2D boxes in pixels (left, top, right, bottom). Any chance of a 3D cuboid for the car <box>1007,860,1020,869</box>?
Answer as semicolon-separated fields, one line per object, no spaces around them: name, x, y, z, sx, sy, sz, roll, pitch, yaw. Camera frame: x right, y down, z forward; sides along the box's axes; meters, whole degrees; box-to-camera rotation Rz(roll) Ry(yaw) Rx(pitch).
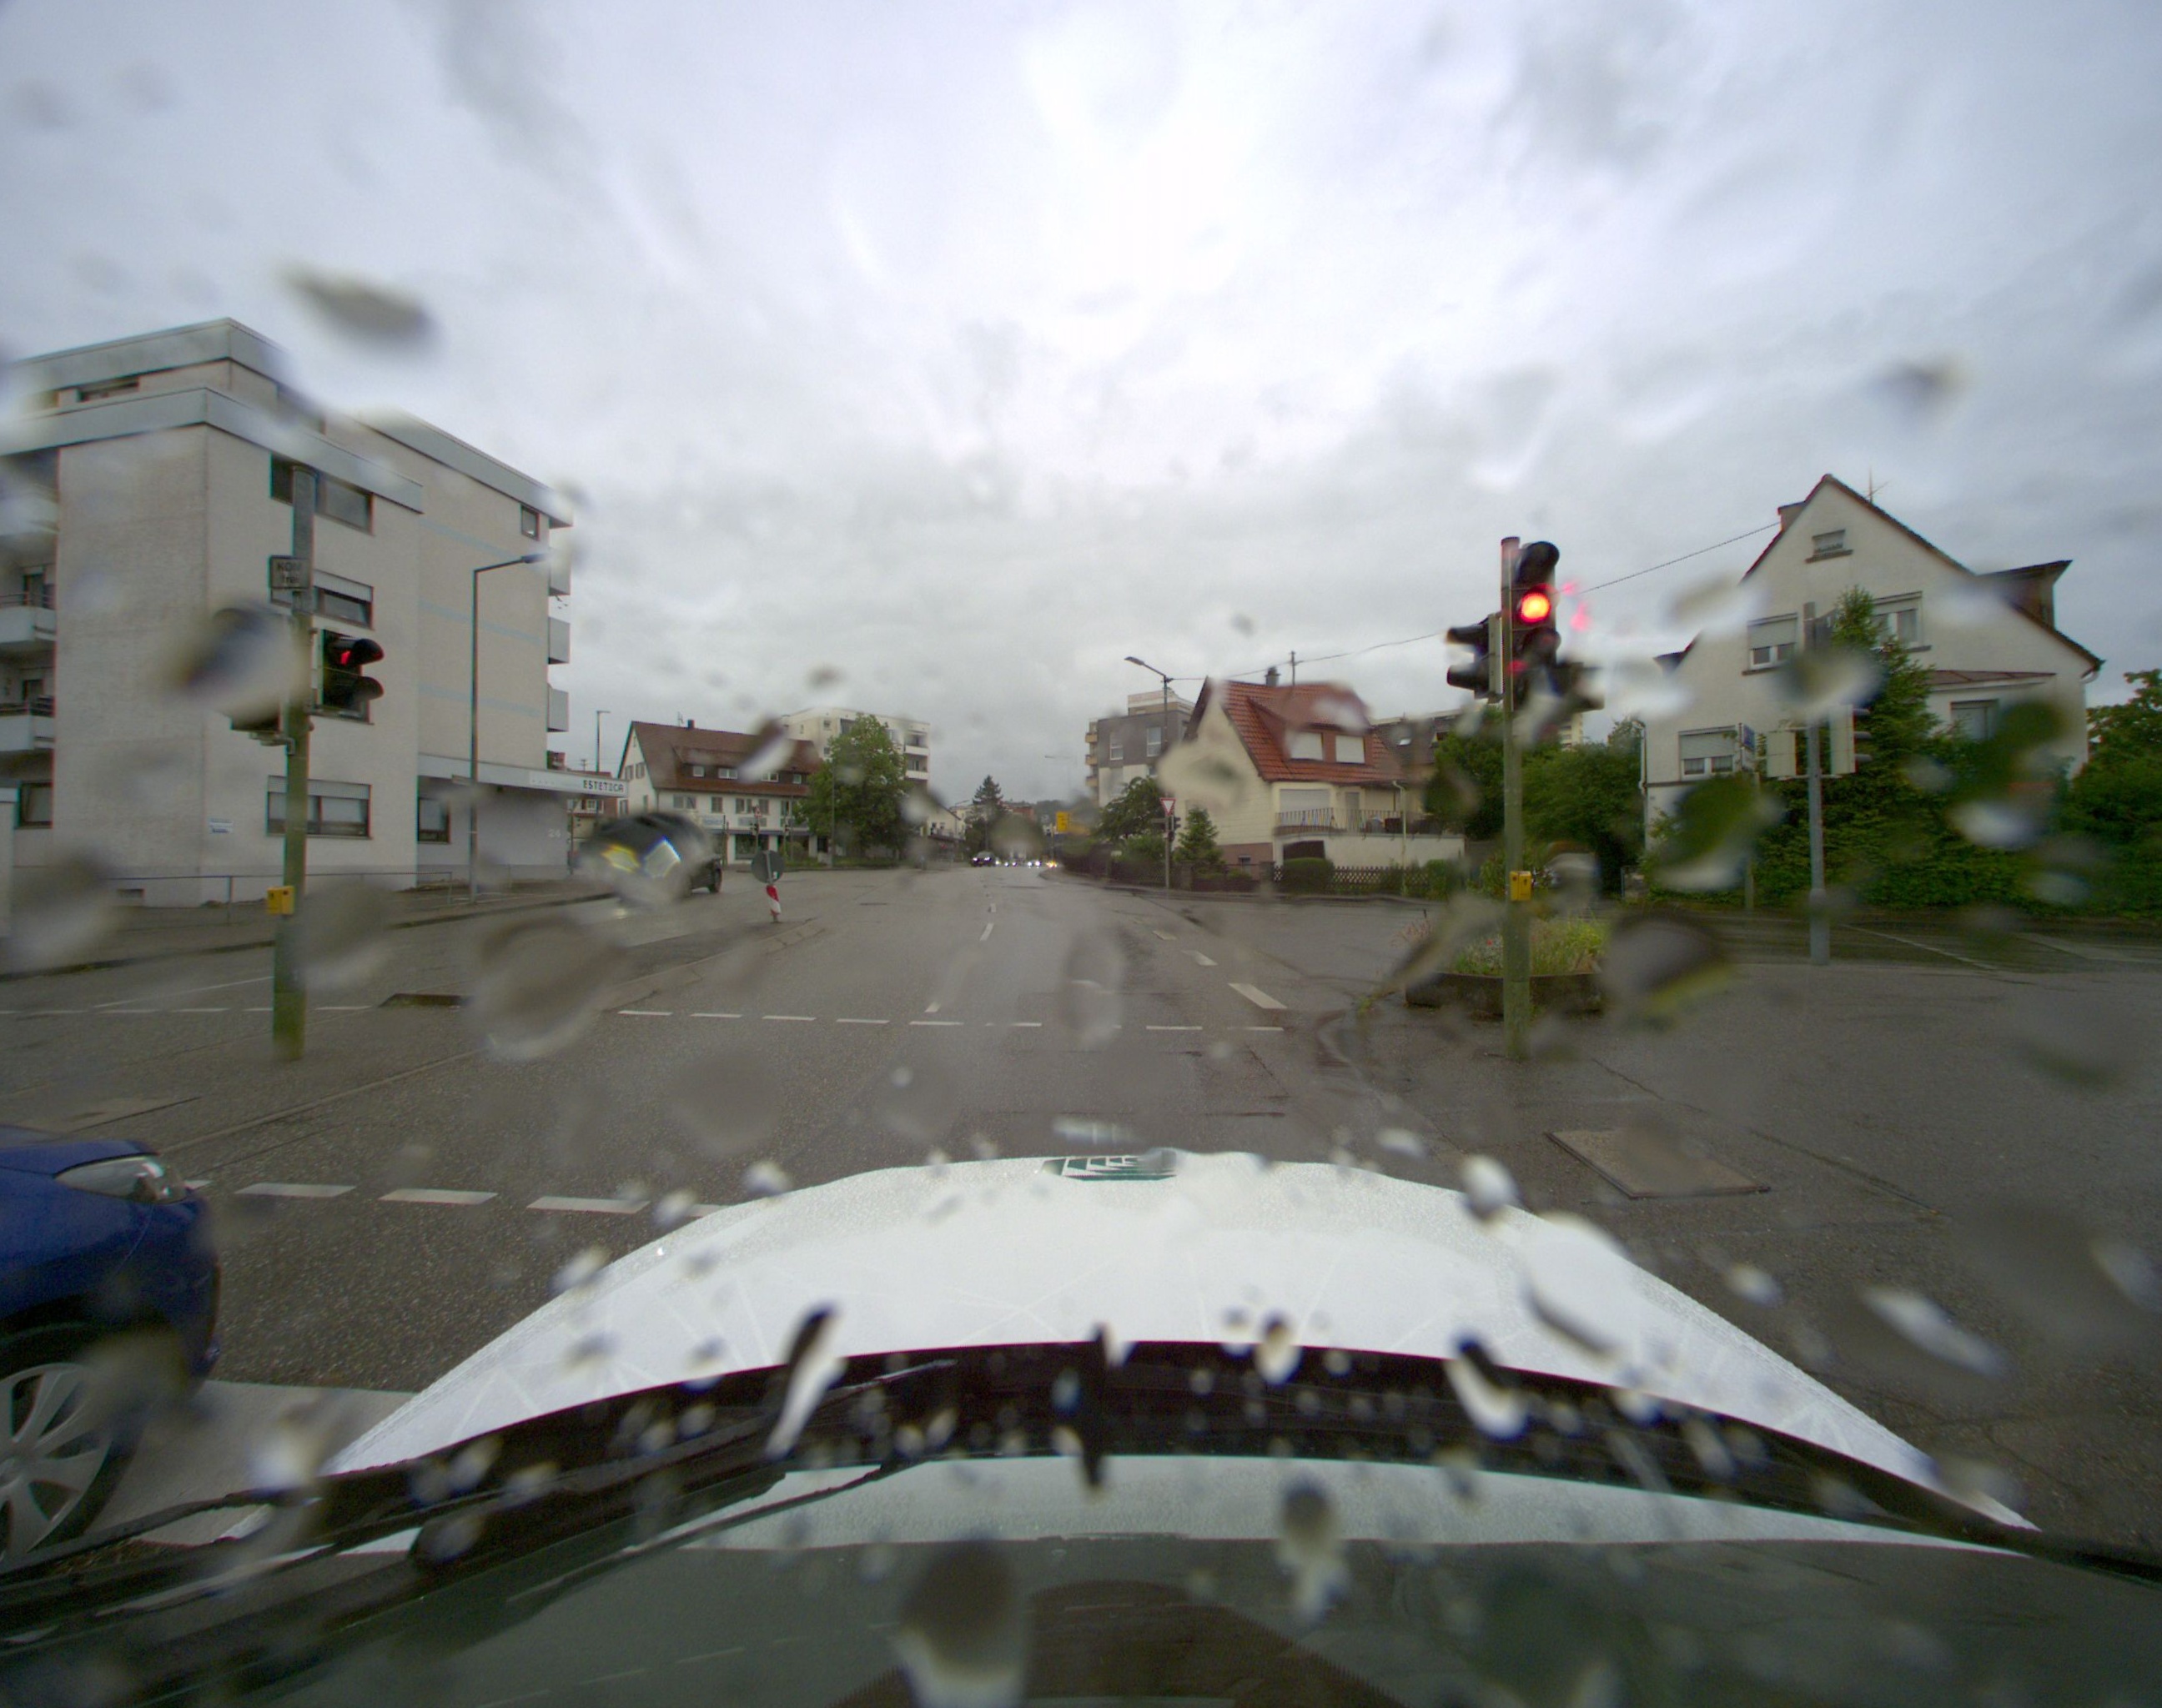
car;-11.625;1.743;140.035;1.989;1.463;3.996;0;-1;-3

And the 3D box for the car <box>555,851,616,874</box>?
car;-41.219;0.668;67.794;4.093;1.843;1.864;0;-1;-44

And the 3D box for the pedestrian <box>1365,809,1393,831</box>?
pedestrian;12.764;-1.436;34.843;0.918;0.883;0.632;0;-3;-18

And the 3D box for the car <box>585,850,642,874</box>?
car;-38.445;0.629;66.970;3.706;1.920;1.864;0;-1;-44

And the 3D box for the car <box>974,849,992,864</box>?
car;-11.732;0.330;97.862;1.990;1.737;5.173;0;0;-4

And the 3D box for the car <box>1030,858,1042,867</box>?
car;-8.168;1.558;147.935;1.989;1.679;3.996;0;-1;-3

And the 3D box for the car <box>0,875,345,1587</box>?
car;-2.961;0.780;0.714;1.499;1.413;3.365;0;0;2

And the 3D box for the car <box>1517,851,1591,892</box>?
car;17.105;0.595;29.357;1.794;1.362;4.025;-1;-1;37

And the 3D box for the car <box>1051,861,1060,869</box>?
car;-5.951;2.558;188.306;1.989;1.812;3.996;0;-1;-3

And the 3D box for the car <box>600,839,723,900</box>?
car;-12.222;0.381;24.071;1.877;1.597;4.175;0;1;-7
